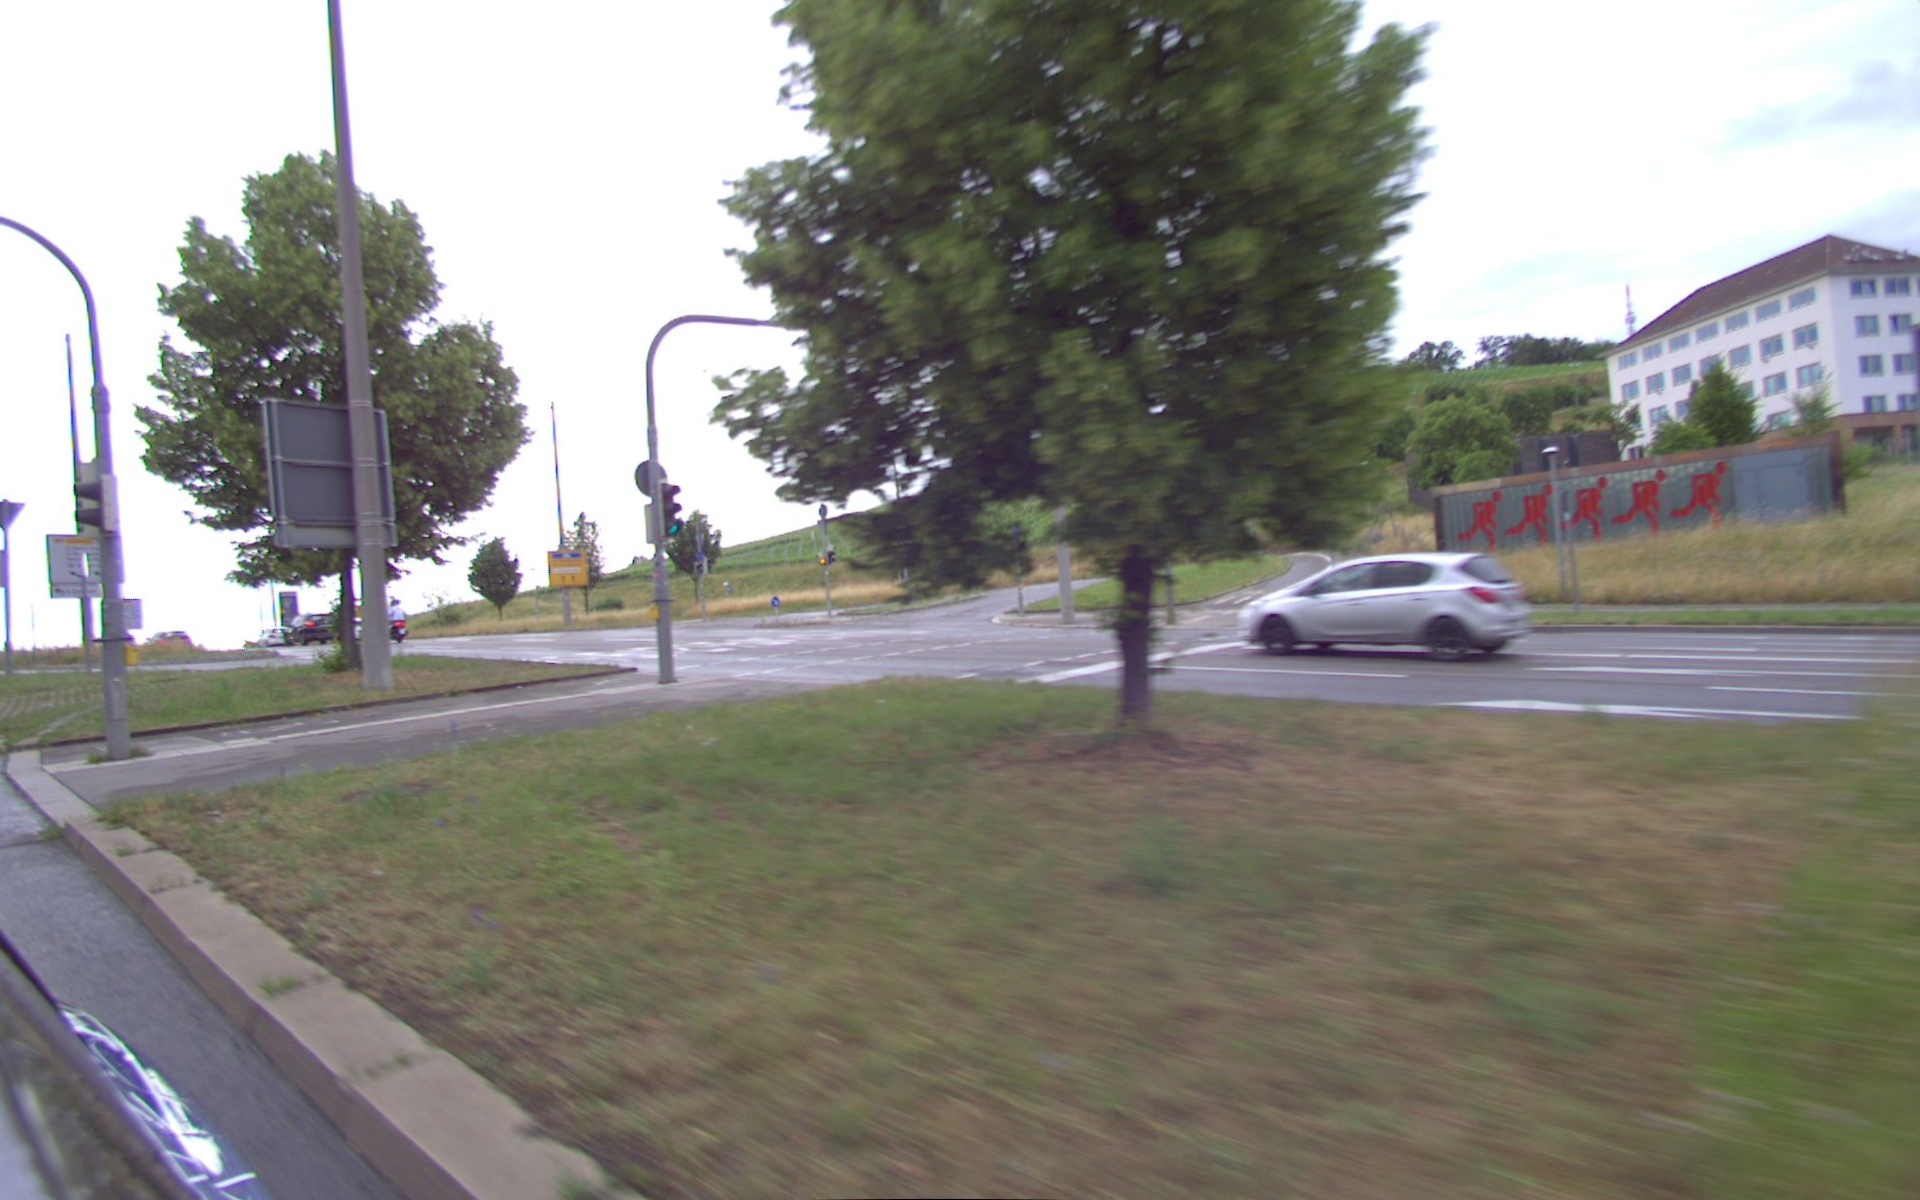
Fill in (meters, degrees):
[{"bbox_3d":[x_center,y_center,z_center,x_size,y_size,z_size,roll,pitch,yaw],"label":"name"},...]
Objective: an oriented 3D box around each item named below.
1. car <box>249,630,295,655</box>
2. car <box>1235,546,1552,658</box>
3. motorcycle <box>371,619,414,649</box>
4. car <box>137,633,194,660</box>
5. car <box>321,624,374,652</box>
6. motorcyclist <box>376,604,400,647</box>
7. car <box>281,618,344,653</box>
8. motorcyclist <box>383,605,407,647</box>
[{"bbox_3d":[-49.651,3.071,72.982,4.176,1.660,1.749,-2,1,42],"label":"car"},{"bbox_3d":[6.139,0.034,14.665,1.520,1.399,3.931,-2,1,-43],"label":"car"},{"bbox_3d":[-22.204,1.332,39.575,2.500,1.058,0.610,-4,-1,41],"label":"motorcycle"},{"bbox_3d":[-48.988,2.879,62.367,4.457,1.515,1.734,-2,0,38],"label":"car"},{"bbox_3d":[-36.760,2.295,60.711,3.773,1.474,1.634,-4,-1,42],"label":"car"},{"bbox_3d":[-22.491,1.000,39.799,0.643,1.608,0.576,-4,-1,41],"label":"motorcyclist"},{"bbox_3d":[-30.445,1.646,47.559,3.660,1.515,1.522,-2,1,41],"label":"car"},{"bbox_3d":[-21.961,0.997,39.359,0.581,1.593,0.606,-4,-1,41],"label":"motorcyclist"}]
